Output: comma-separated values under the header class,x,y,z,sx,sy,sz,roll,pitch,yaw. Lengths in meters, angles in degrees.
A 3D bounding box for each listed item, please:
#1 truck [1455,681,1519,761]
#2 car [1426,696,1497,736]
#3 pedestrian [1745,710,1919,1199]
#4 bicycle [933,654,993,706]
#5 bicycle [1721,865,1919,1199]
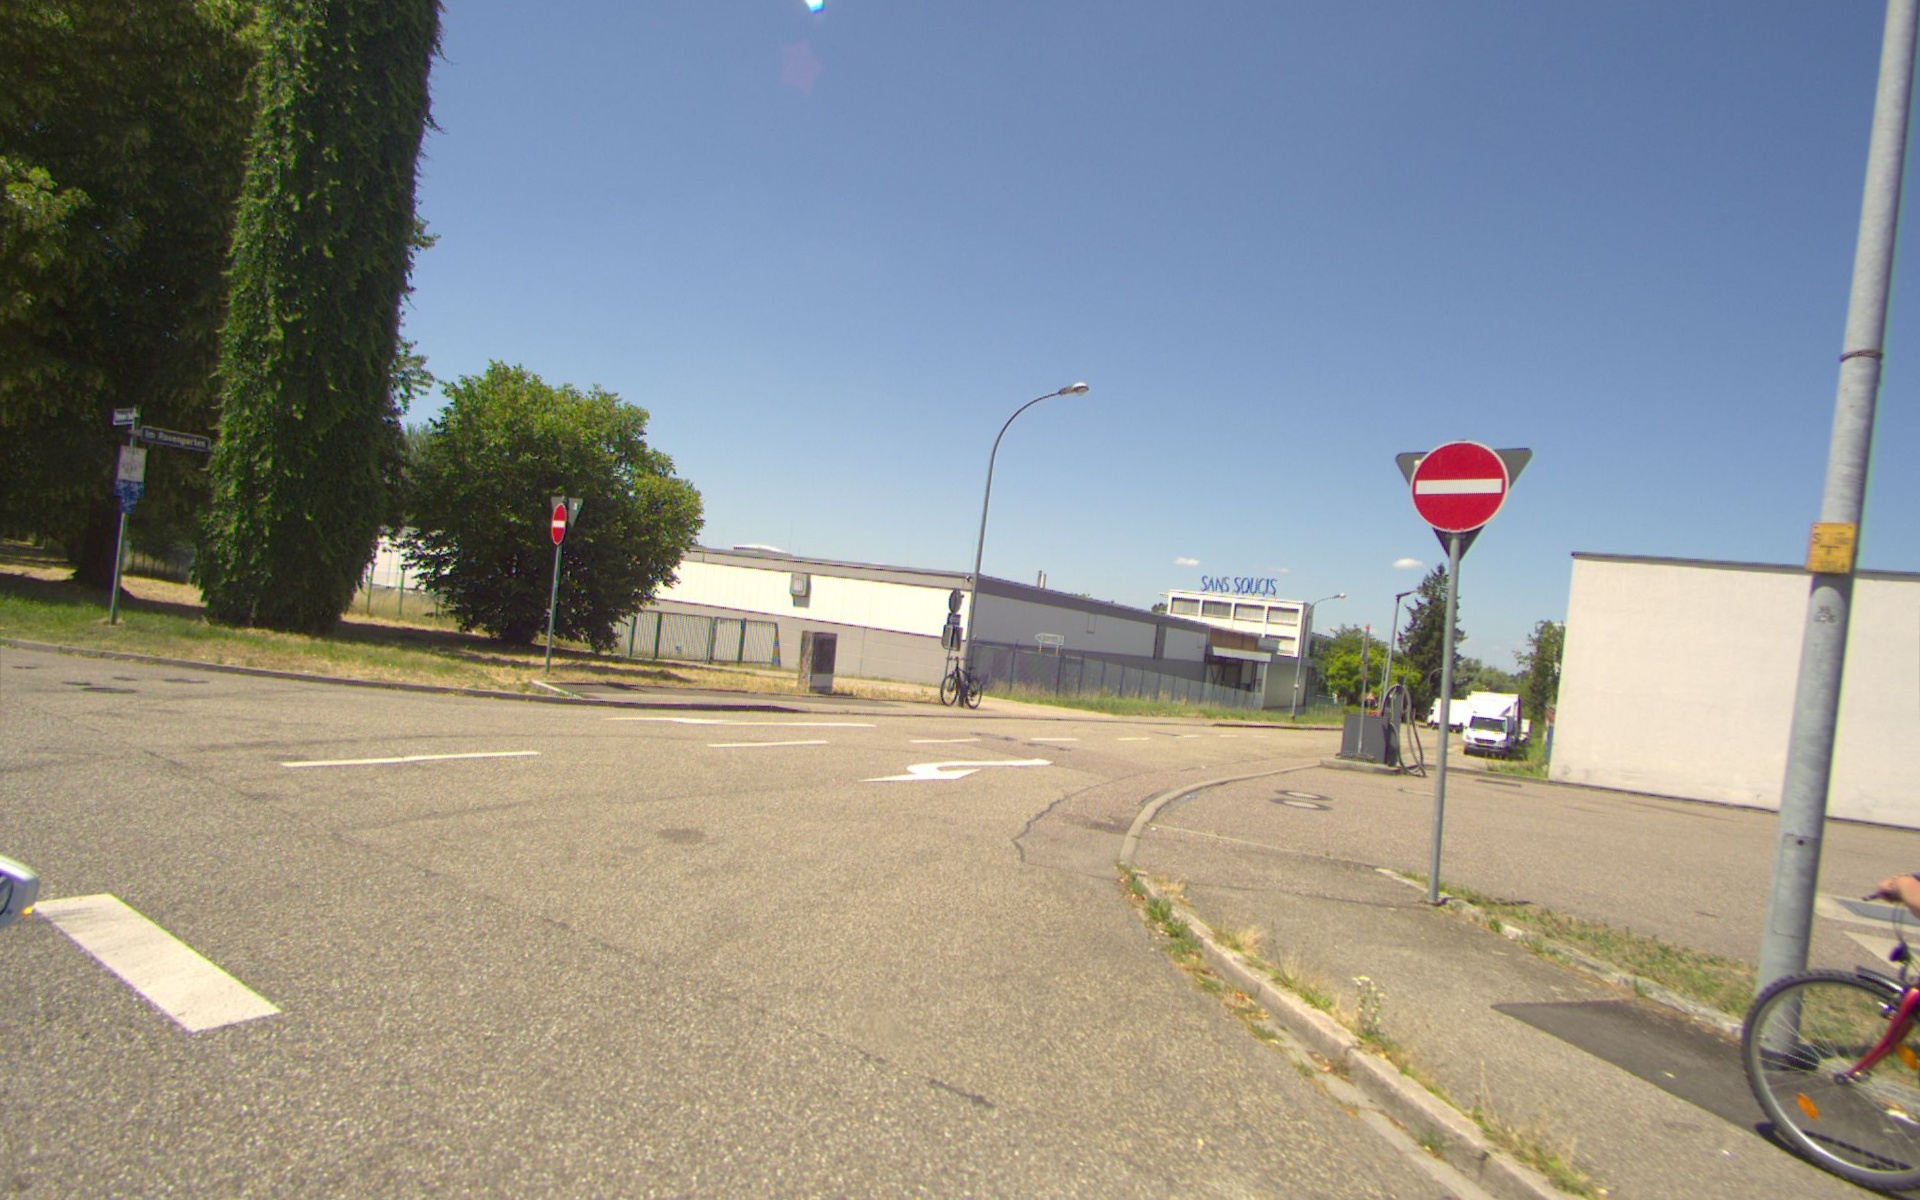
class,x,y,z,sx,sy,sz,roll,pitch,yaw
truck,29.383,6.713,56.096,2.523,3.762,9.477,6,-3,28
car,52.736,12.173,105.978,3.255,3.342,7.577,7,-3,-1
pedestrian,2.858,1.093,2.699,0.763,1.437,0.861,8,-1,-30
bicycle,0.089,1.924,23.954,0.460,1.110,1.695,6,-3,34
bicycle,3.174,1.407,2.816,0.375,0.922,1.588,8,-2,-27
